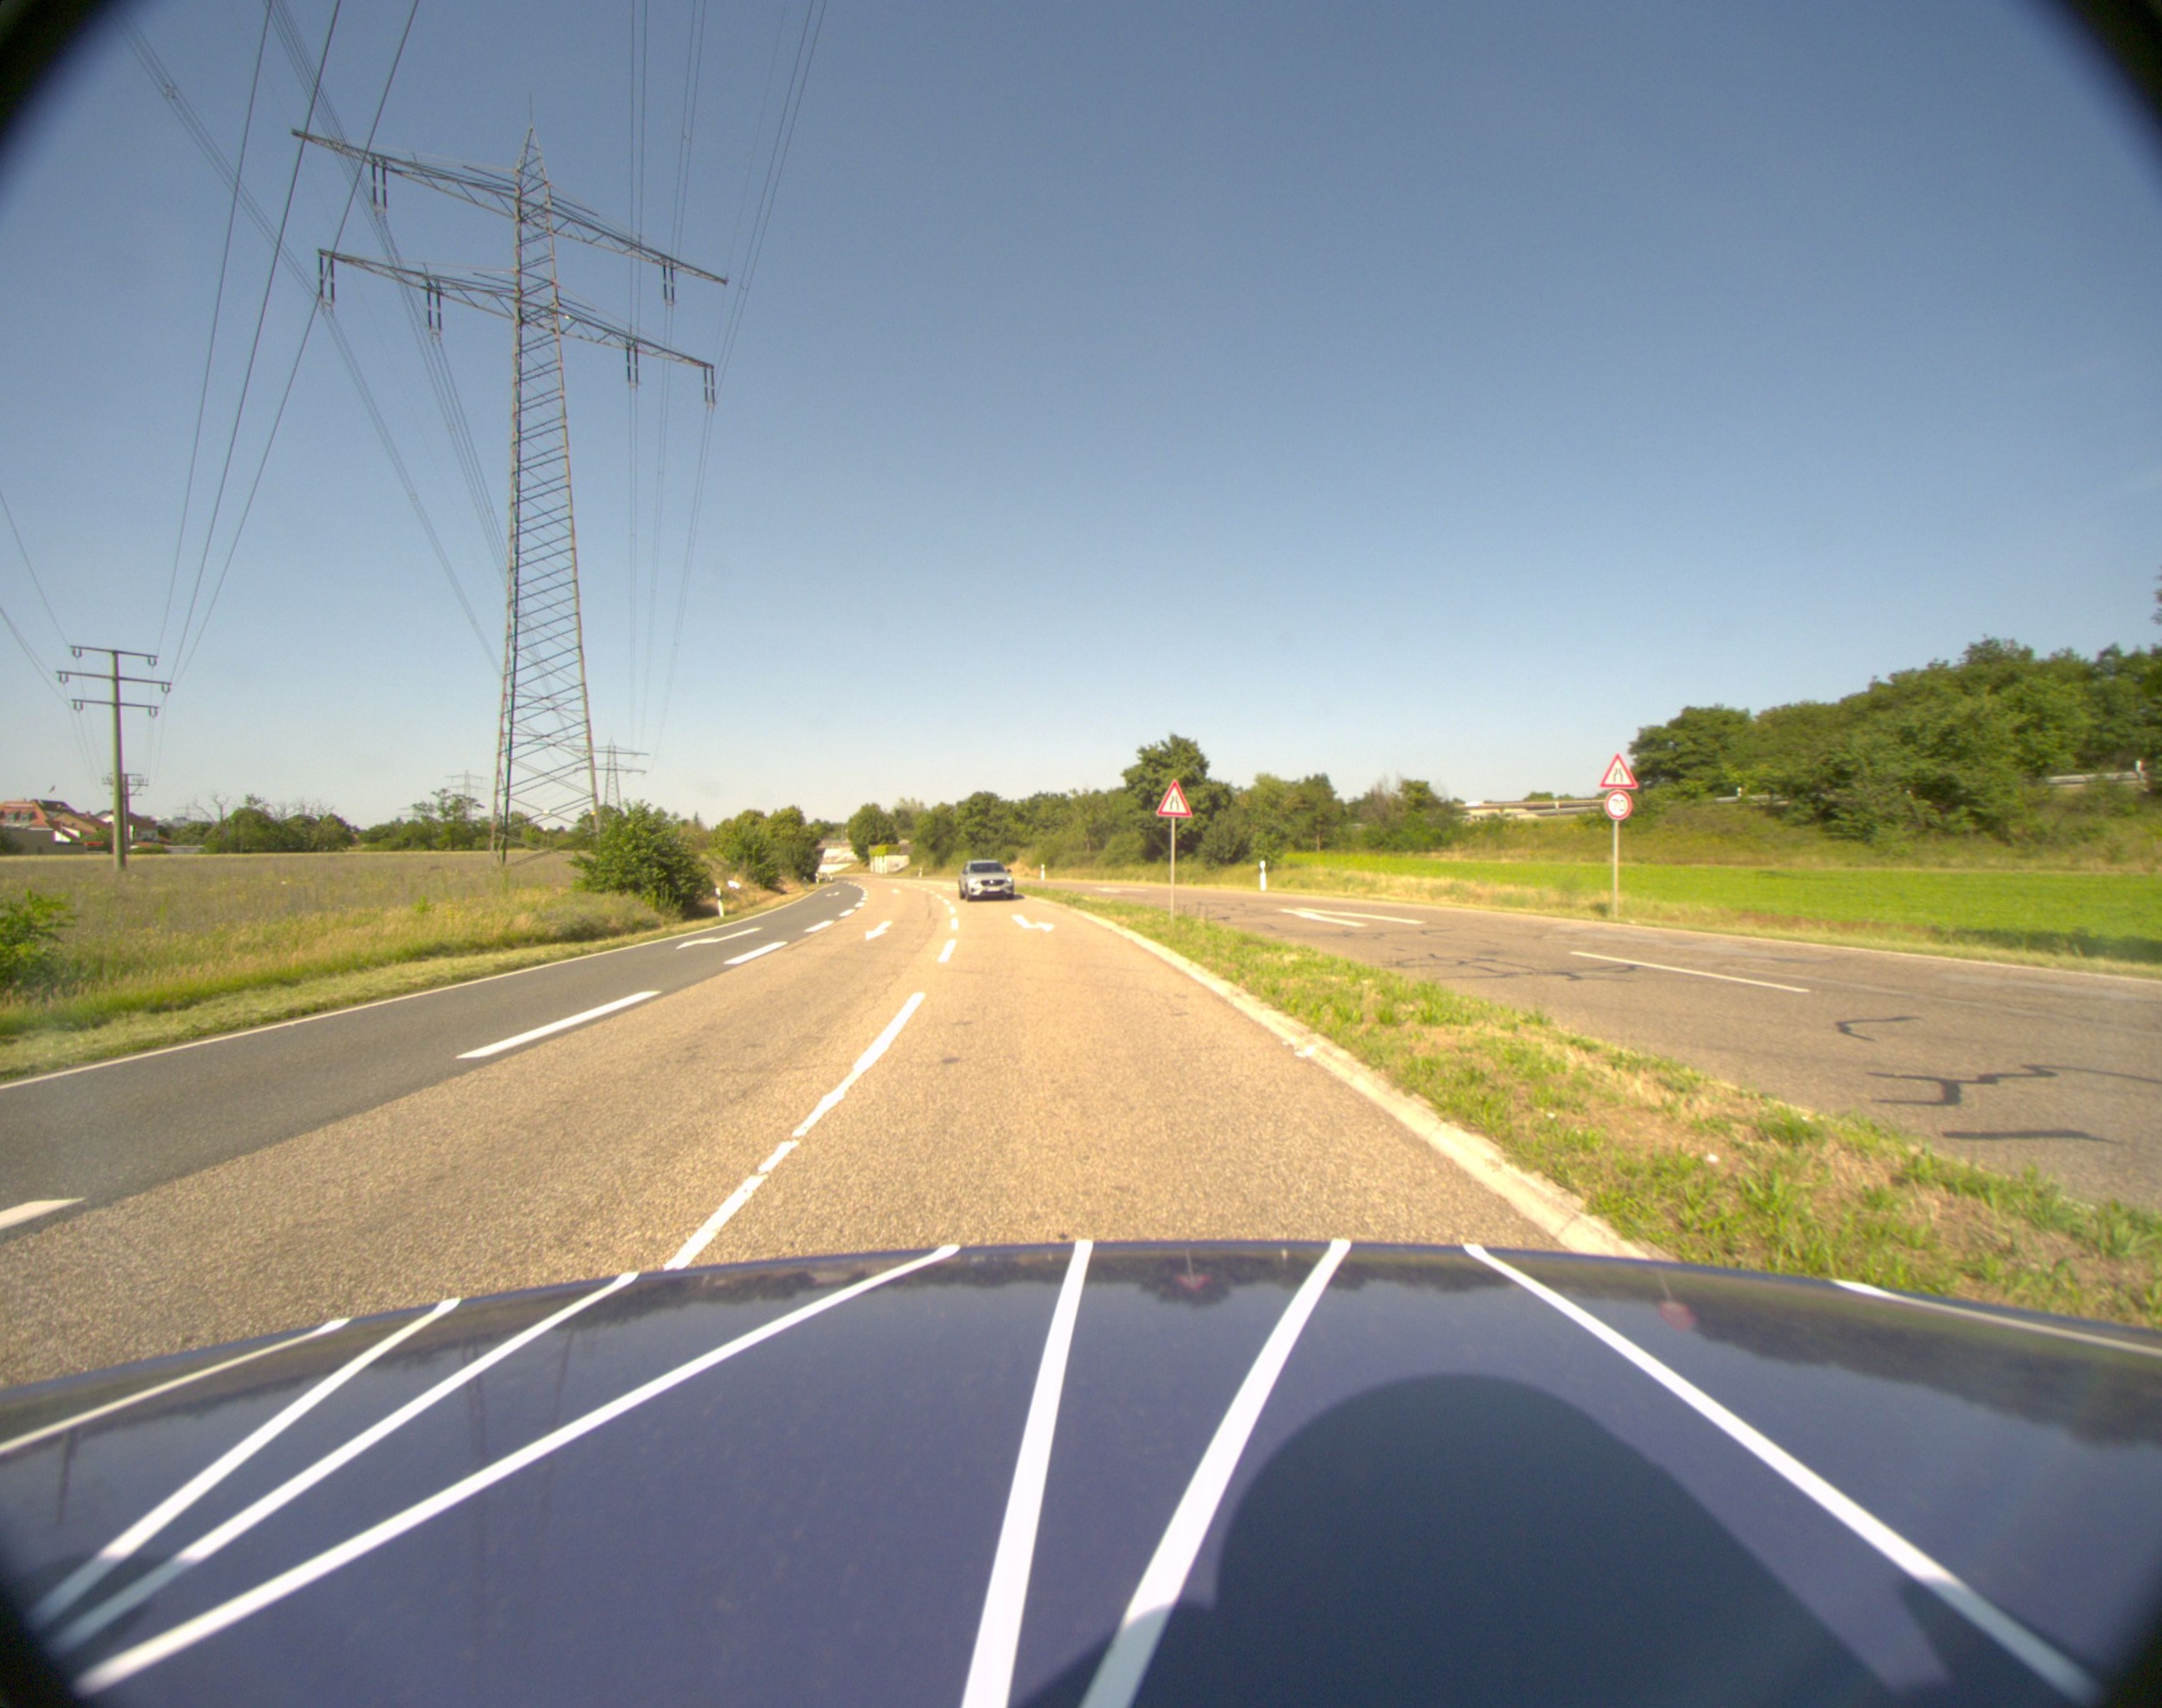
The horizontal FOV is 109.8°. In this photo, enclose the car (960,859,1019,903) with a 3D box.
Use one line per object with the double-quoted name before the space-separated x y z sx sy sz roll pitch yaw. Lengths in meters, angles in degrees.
"car" -3.801 1.046 31.017 1.862 1.609 3.643 -2 0 -15
